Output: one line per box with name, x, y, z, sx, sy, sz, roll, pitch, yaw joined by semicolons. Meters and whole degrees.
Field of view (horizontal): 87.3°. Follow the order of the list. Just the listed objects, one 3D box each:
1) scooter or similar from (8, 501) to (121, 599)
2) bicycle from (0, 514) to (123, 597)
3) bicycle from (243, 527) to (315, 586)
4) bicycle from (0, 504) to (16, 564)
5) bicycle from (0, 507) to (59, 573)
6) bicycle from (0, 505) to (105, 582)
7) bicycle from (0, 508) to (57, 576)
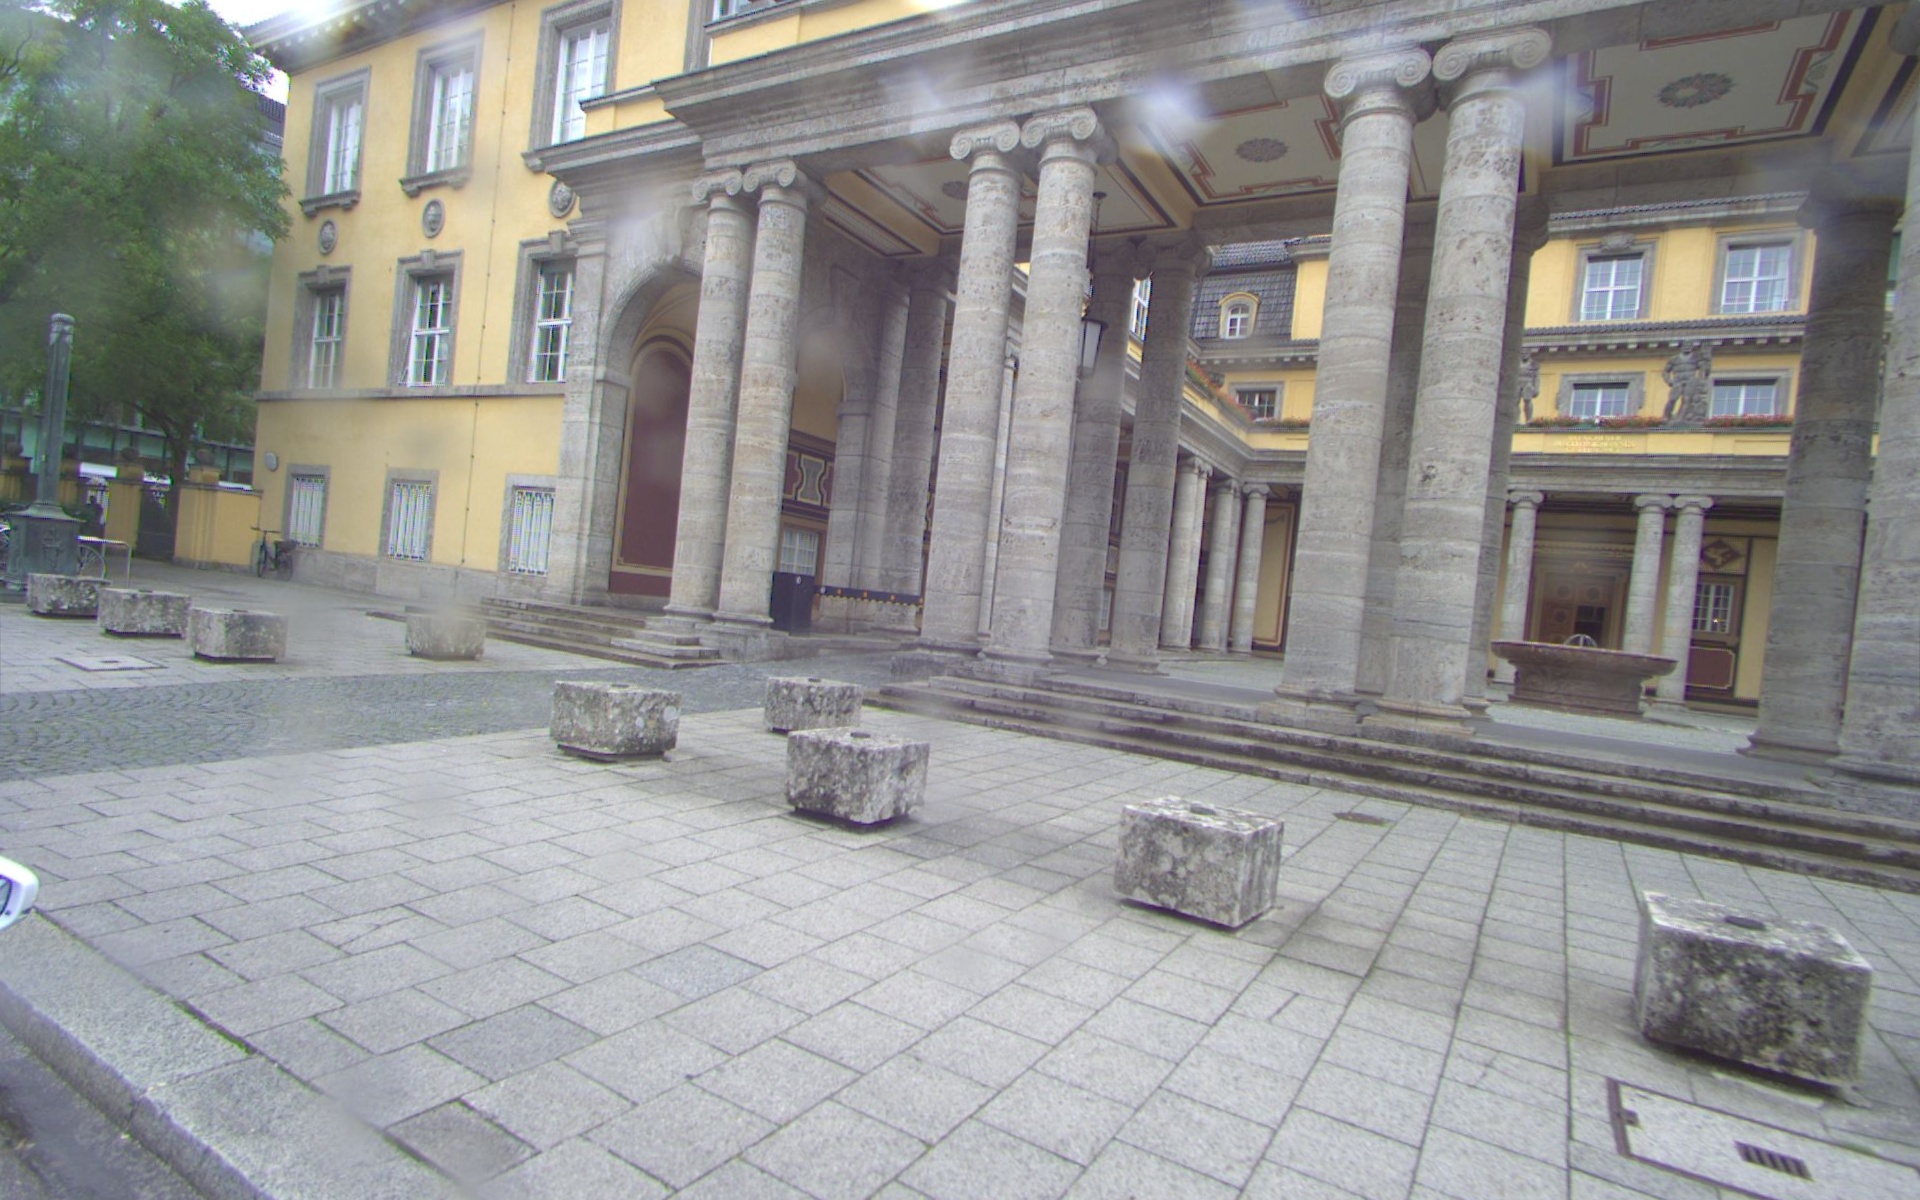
scooter or similar;-12.605;-0.694;14.183;0.996;1.238;0.536;5;2;-14
bicycle;-13.681;-0.662;14.875;0.463;1.128;1.934;7;1;28
bicycle;-15.810;-1.013;23.339;1.870;1.169;0.543;7;2;30
bicycle;-18.910;-1.314;18.599;0.463;1.128;2.034;7;1;28
bicycle;-17.536;-1.123;18.065;0.463;1.128;1.932;7;1;32
bicycle;-15.096;-0.927;16.193;0.463;1.128;1.932;7;1;33
bicycle;-17.013;-1.060;17.431;0.463;1.128;1.932;7;1;33
